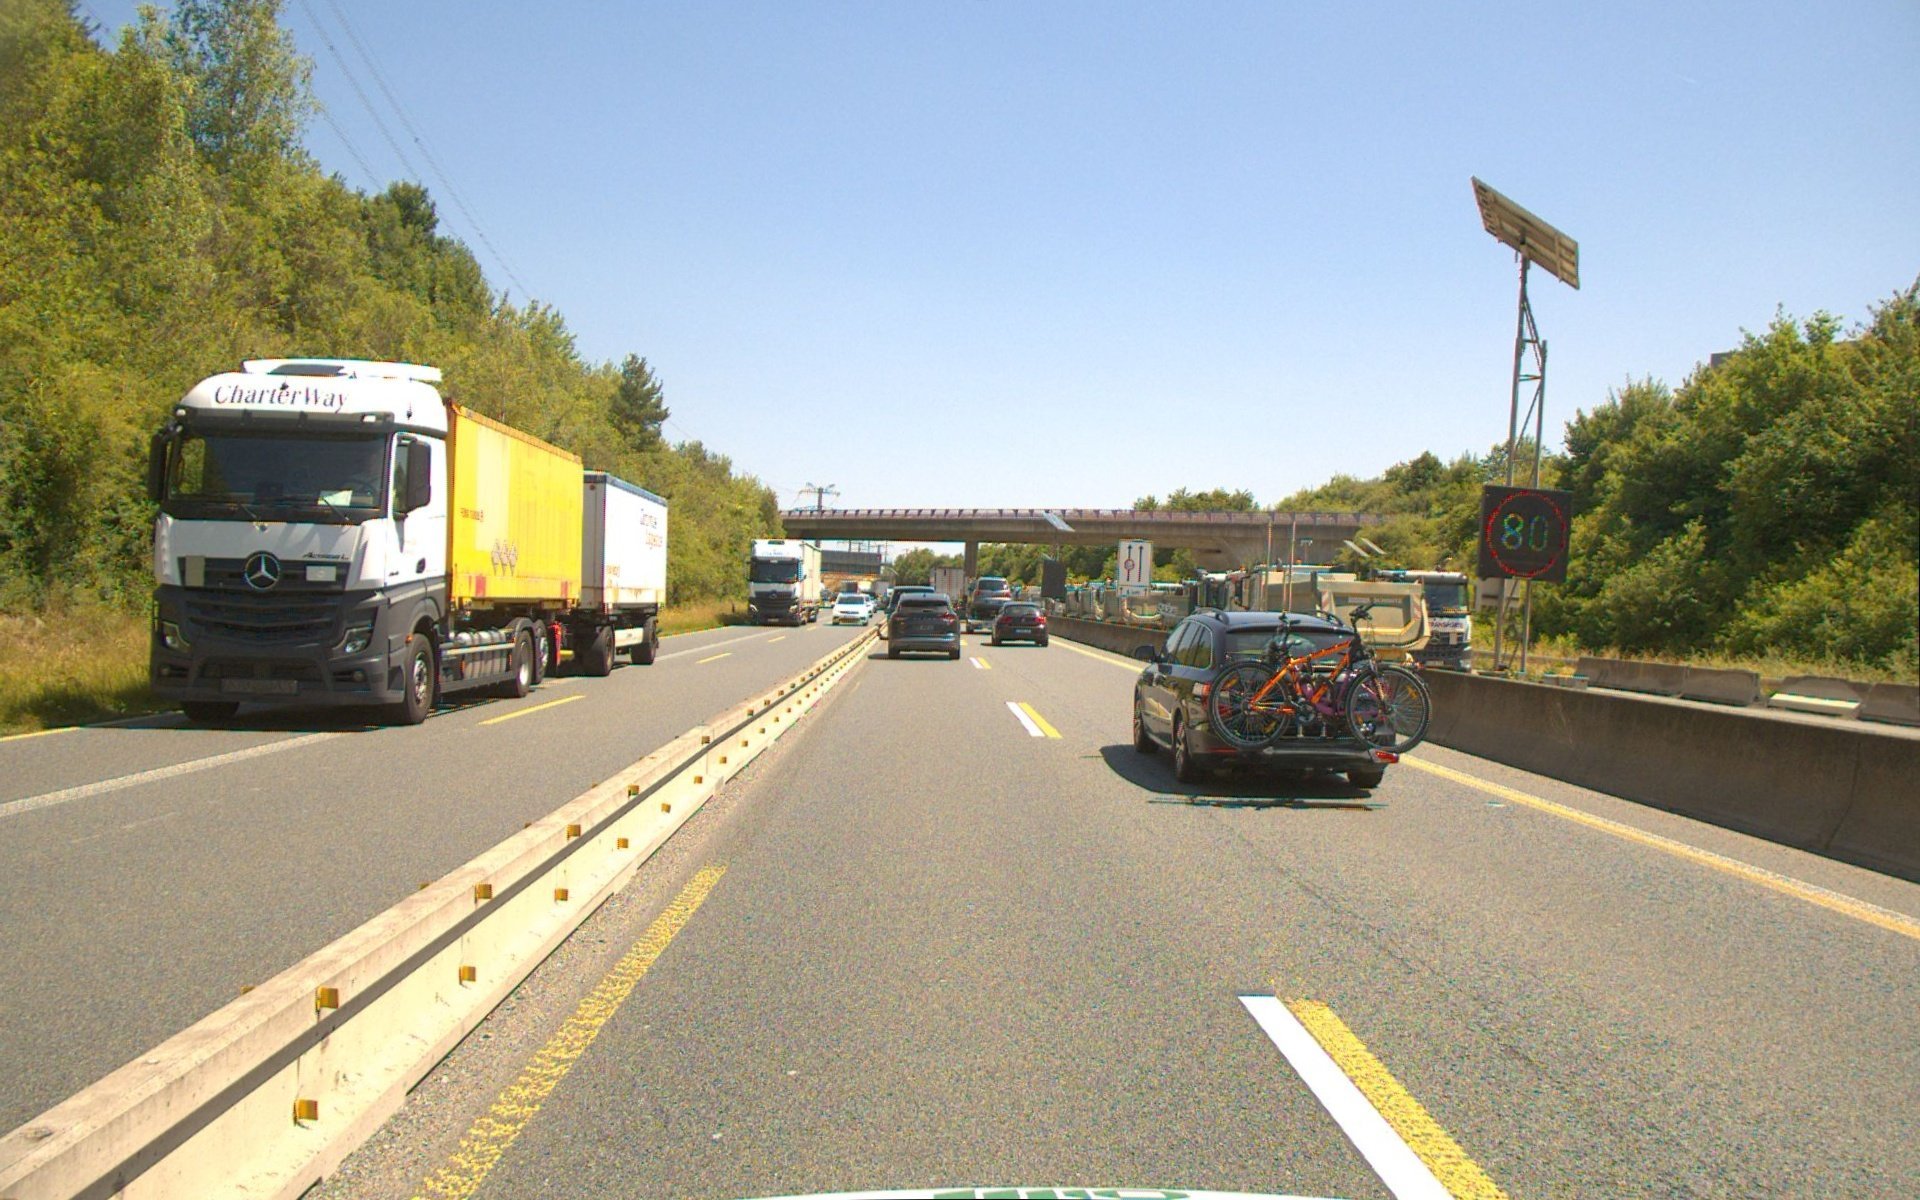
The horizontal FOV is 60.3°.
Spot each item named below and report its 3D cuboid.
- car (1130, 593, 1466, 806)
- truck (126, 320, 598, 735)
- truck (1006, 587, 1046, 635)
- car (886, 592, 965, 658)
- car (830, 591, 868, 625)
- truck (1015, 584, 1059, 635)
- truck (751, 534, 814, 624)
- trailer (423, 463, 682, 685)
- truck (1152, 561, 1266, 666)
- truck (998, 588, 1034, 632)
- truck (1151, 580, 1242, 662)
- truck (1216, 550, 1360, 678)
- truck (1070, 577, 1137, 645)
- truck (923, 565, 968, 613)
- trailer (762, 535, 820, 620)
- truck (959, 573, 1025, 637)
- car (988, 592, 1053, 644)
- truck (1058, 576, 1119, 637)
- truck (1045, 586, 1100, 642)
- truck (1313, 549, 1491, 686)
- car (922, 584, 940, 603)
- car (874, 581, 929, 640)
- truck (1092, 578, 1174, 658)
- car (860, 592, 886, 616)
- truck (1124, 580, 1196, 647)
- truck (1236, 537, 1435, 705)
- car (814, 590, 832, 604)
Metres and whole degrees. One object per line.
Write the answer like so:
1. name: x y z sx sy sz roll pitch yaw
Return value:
1. car: 2.747 0.746 14.656 1.861 1.516 4.946 2 0 -1
2. truck: -7.112 -0.744 21.589 2.596 4.061 9.648 3 0 -1
3. truck: 5.668 0.911 143.989 2.633 3.923 9.321 1 0 -2
4. car: -0.861 0.614 42.064 1.861 1.531 4.275 2 0 -1
5. car: -5.647 0.391 84.683 1.788 1.659 4.149 1 0 -2
6. truck: 6.112 0.723 132.499 2.633 3.826 9.321 1 0 -2
7. truck: -8.676 -0.984 81.744 2.362 4.061 10.346 2 0 -3
8. trailer: -7.261 -0.425 30.897 2.597 3.394 8.917 3 0 -1
9. truck: 9.295 0.466 62.848 2.487 3.619 9.599 1 0 -2
10. truck: 5.266 0.920 156.472 2.633 3.910 9.321 1 0 -2
11. truck: 11.218 0.935 79.353 2.633 3.619 9.599 1 0 -2
12. truck: 9.961 0.389 51.185 2.482 3.572 8.942 1 0 -1
13. truck: 7.984 0.579 93.291 2.633 3.619 9.403 1 0 -2
14. truck: -1.330 -0.941 143.168 3.227 3.912 10.102 1 0 -4
15. trailer: -9.245 -1.202 91.101 2.585 4.388 8.443 2 0 -3
16. truck: 1.344 0.169 73.087 2.357 2.603 7.496 2 0 -3
17. car: 1.967 0.582 55.008 1.861 1.613 4.275 2 0 -1
18. truck: 8.091 0.397 105.016 2.633 3.619 9.320 1 0 -3
19. truck: 7.664 0.915 113.952 2.633 3.619 9.320 1 0 -3
20. truck: 12.674 0.451 48.253 2.633 3.572 8.377 1 0 -2
21. car: -3.159 -0.695 178.515 1.861 2.003 4.275 2 0 -1
22. car: -2.081 0.376 59.718 1.861 2.003 4.275 2 0 -1
23. truck: 8.365 0.825 81.073 2.633 3.619 9.599 1 0 -2
24. car: -6.170 0.279 117.973 1.727 1.660 4.295 2 0 -2
25. truck: 10.973 0.712 91.512 2.632 3.437 9.601 1 0 -1
26. truck: 8.930 0.447 40.511 2.482 3.572 9.093 1 0 -2
27. car: -15.414 -0.313 186.469 1.757 1.552 4.530 2 0 -1
